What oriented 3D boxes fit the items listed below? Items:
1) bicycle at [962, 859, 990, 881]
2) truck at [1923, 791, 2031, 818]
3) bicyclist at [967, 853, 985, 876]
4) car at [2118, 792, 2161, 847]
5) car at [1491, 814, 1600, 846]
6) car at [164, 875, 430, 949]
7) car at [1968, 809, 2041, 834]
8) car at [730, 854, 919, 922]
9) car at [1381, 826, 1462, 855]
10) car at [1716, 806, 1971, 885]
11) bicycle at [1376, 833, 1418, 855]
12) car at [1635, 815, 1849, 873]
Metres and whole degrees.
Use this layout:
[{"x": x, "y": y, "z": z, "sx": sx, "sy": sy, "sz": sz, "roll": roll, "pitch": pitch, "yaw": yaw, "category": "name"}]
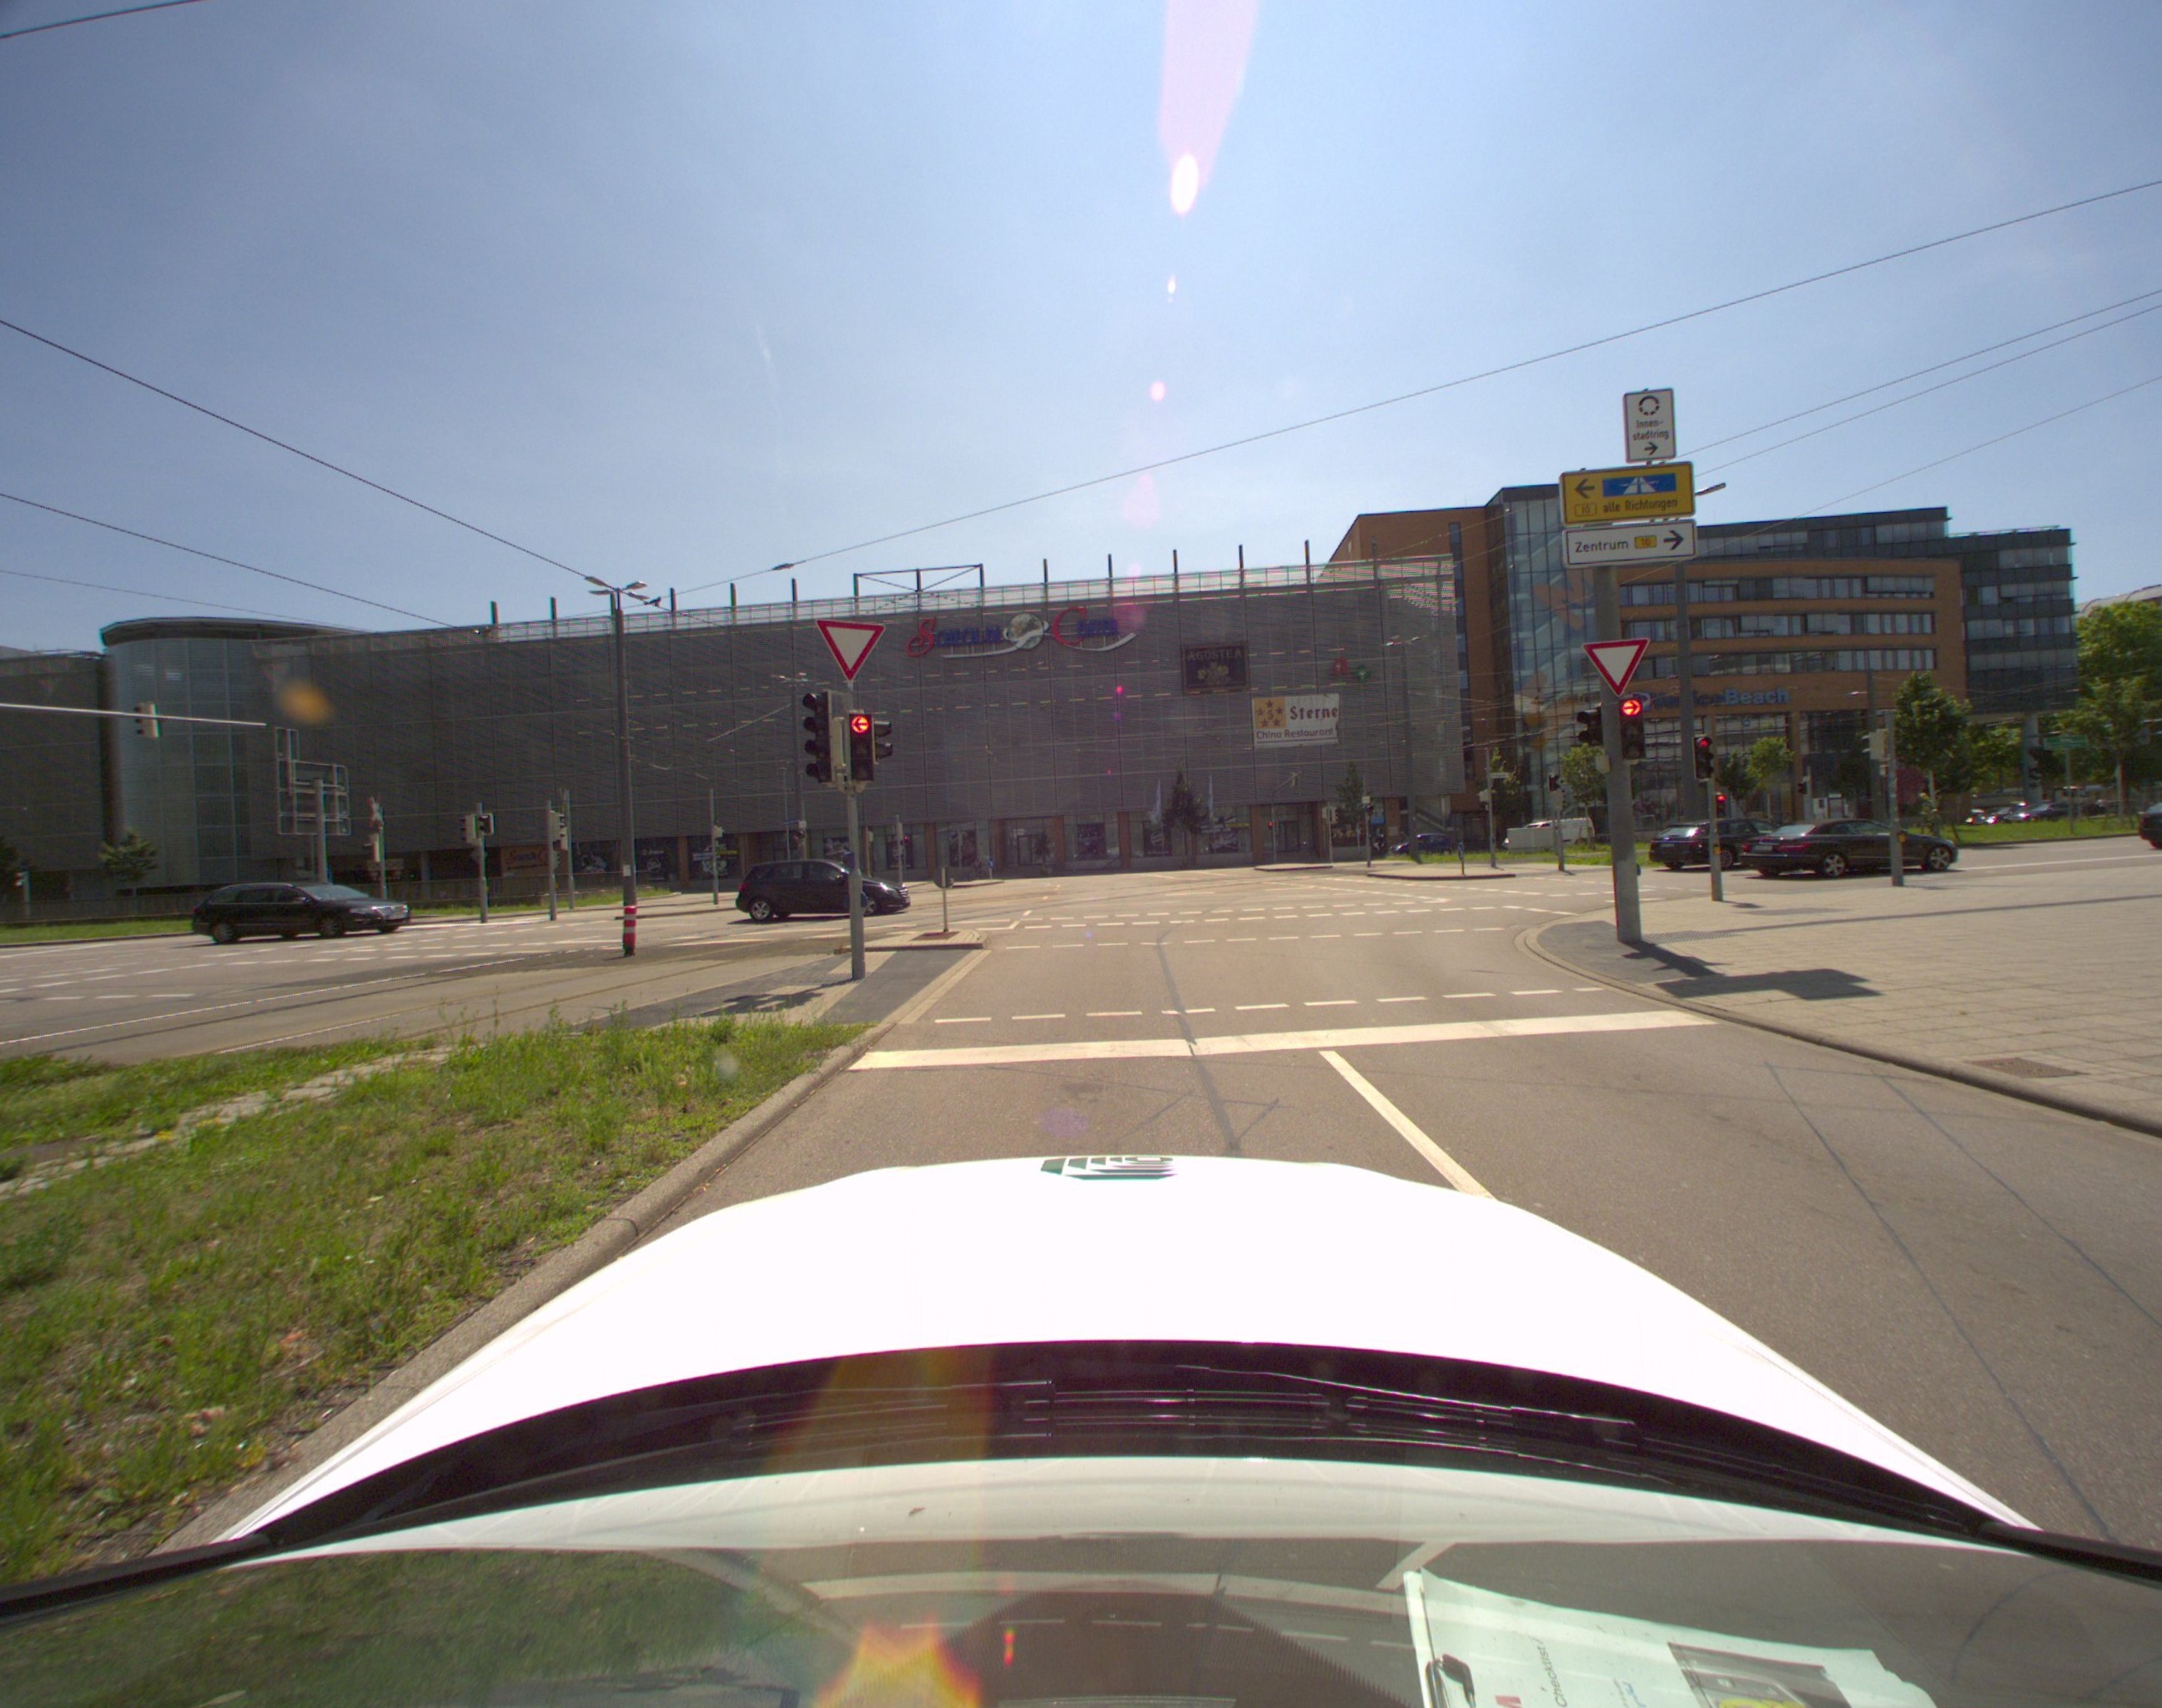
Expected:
[{"x": -7.411, "y": 1.139, "z": 57.715, "sx": 1.055, "sy": 1.390, "sz": 3.033, "roll": -2, "pitch": 1, "yaw": 10, "category": "bicycle"}, {"x": 112.134, "y": -6.119, "z": 102.169, "sx": 1.999, "sy": 2.809, "sz": 9.186, "roll": -2, "pitch": 1, "yaw": -17, "category": "truck"}, {"x": -7.441, "y": 0.730, "z": 57.620, "sx": 1.033, "sy": 1.571, "sz": 0.779, "roll": -2, "pitch": 1, "yaw": 9, "category": "bicyclist"}, {"x": 31.820, "y": -1.065, "z": 22.417, "sx": 4.517, "sy": 1.508, "sz": 1.840, "roll": -3, "pitch": 1, "yaw": -4, "category": "car"}, {"x": 27.743, "y": -1.429, "z": 48.722, "sx": 5.450, "sy": 1.668, "sz": 1.998, "roll": -2, "pitch": 1, "yaw": -3, "category": "car"}, {"x": -20.455, "y": 1.470, "z": 21.440, "sx": 4.844, "sy": 1.580, "sz": 1.998, "roll": -2, "pitch": 1, "yaw": -3, "category": "car"}, {"x": 63.875, "y": -2.240, "z": 56.313, "sx": 3.992, "sy": 1.530, "sz": 1.676, "roll": -2, "pitch": 1, "yaw": -14, "category": "car"}, {"x": -6.666, "y": 0.855, "z": 21.556, "sx": 4.307, "sy": 1.553, "sz": 1.999, "roll": -2, "pitch": 1, "yaw": -2, "category": "car"}, {"x": 20.128, "y": -0.785, "z": 48.214, "sx": 3.973, "sy": 1.538, "sz": 1.882, "roll": -2, "pitch": 1, "yaw": 1, "category": "car"}, {"x": 18.819, "y": -0.224, "z": 20.250, "sx": 4.537, "sy": 1.576, "sz": 1.999, "roll": -4, "pitch": 1, "yaw": -2, "category": "car"}, {"x": 23.789, "y": -0.722, "z": 61.386, "sx": 2.835, "sy": 1.557, "sz": 0.706, "roll": -2, "pitch": 0, "yaw": 5, "category": "bicycle"}, {"x": 19.271, "y": -0.293, "z": 23.903, "sx": 4.749, "sy": 1.460, "sz": 1.888, "roll": -2, "pitch": 1, "yaw": 0, "category": "car"}]
